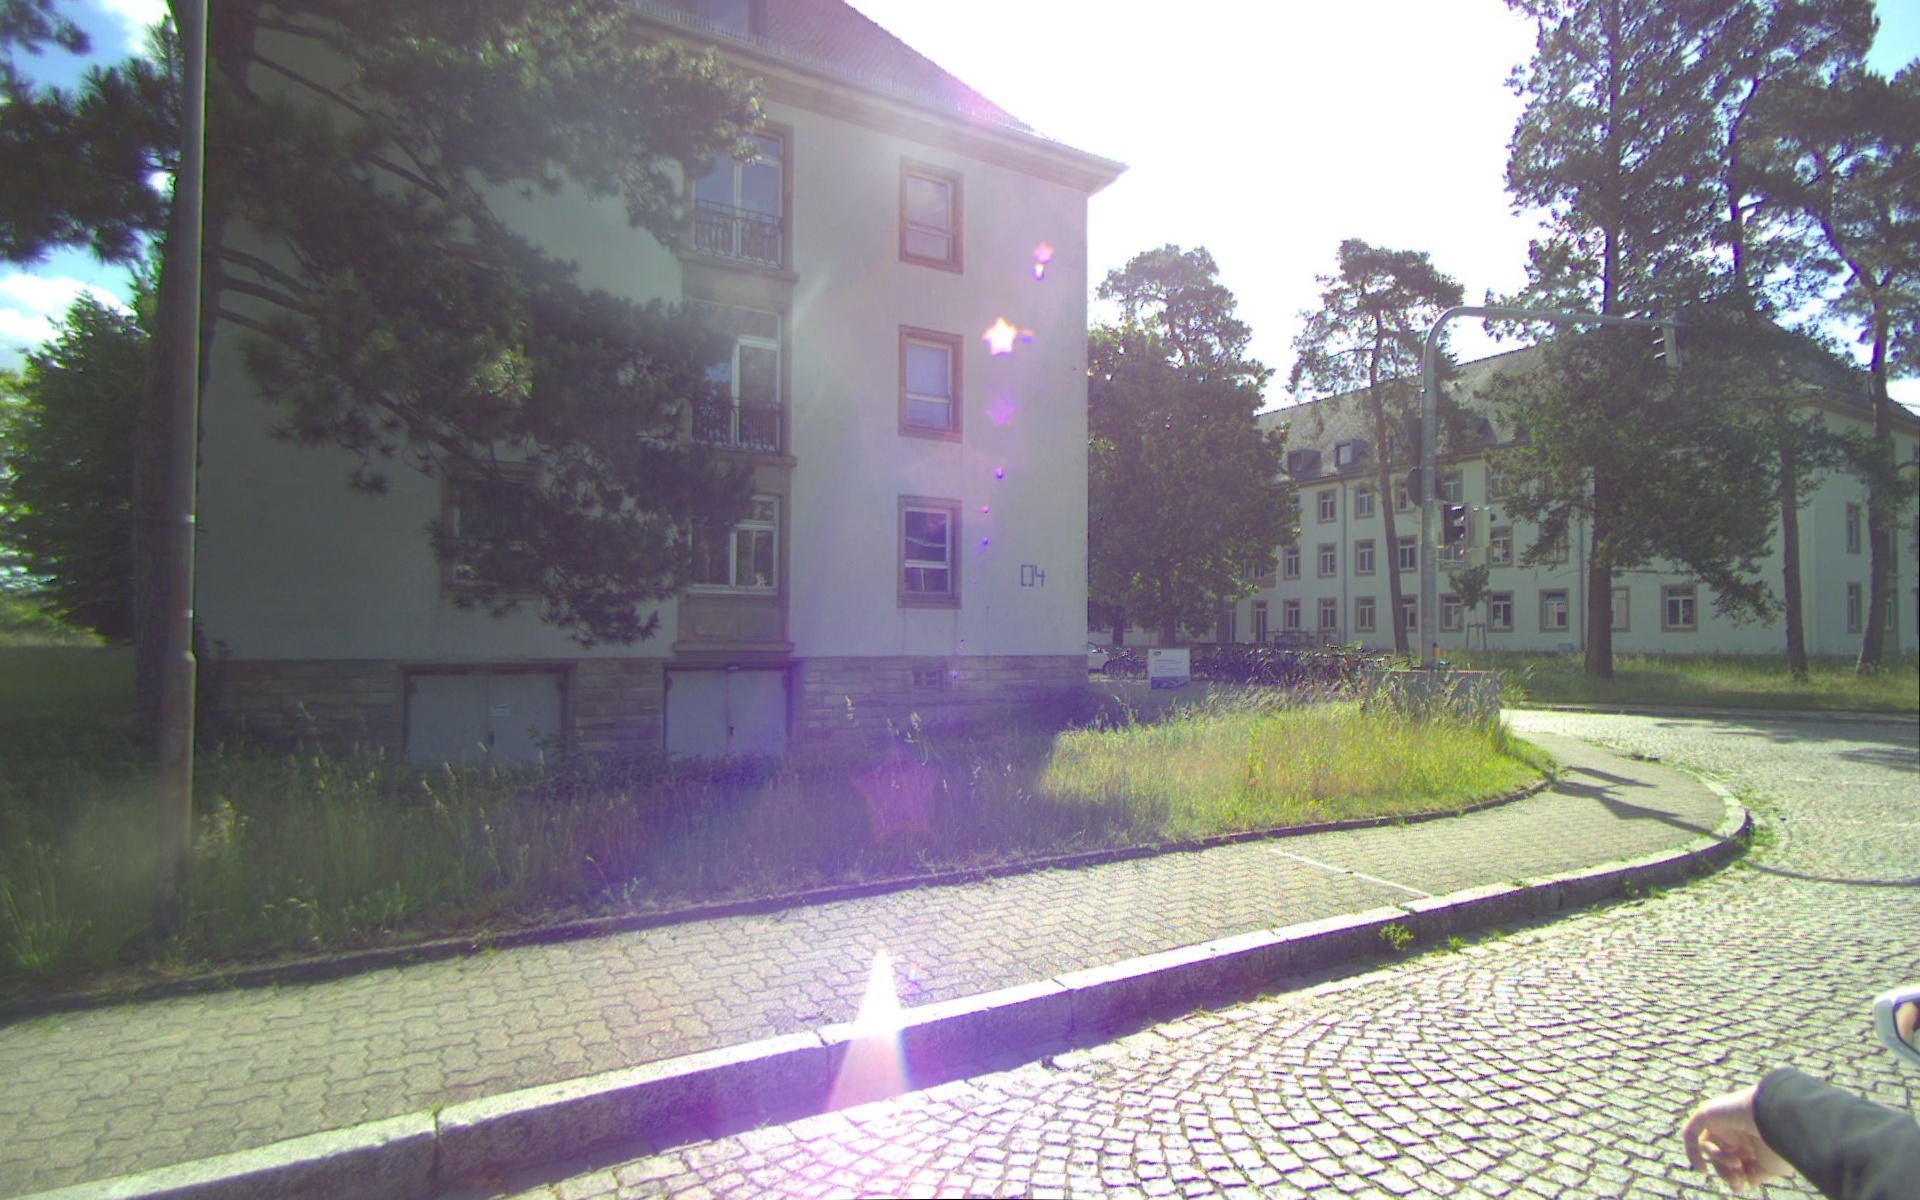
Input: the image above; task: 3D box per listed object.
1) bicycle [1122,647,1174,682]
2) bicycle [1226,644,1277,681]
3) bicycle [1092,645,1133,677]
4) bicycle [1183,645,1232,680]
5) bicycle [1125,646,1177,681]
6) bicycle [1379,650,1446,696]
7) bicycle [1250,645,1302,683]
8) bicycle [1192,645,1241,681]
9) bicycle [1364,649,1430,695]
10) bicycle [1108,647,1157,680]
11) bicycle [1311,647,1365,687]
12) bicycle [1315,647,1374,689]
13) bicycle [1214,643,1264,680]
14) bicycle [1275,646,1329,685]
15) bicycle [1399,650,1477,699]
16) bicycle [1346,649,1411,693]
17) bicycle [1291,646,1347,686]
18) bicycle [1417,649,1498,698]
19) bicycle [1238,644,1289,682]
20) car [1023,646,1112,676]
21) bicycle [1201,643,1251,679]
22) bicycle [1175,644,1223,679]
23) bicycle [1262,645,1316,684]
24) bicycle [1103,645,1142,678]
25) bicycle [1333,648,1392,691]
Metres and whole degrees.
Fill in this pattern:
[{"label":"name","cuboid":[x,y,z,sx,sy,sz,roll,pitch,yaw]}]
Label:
[{"label":"bicycle","cuboid":[6.792,2.316,36.329,1.794,1.236,0.515,-1,-2,24]},{"label":"bicycle","cuboid":[9.924,2.106,34.167,1.915,1.236,0.511,1,-2,-31]},{"label":"bicycle","cuboid":[6.067,2.405,39.941,1.813,1.236,0.510,2,-3,-39]},{"label":"bicycle","cuboid":[8.884,2.222,35.981,1.915,1.236,0.511,1,-2,-31]},{"label":"bicycle","cuboid":[7.022,2.325,36.936,1.794,1.236,0.515,-1,-2,24]},{"label":"bicycle","cuboid":[12.694,2.027,28.175,2.090,1.236,0.630,1,-2,-31]},{"label":"bicycle","cuboid":[10.446,2.094,33.198,1.932,1.236,0.511,1,-2,-31]},{"label":"bicycle","cuboid":[9.098,2.217,35.610,1.915,1.236,0.511,1,-2,-31]},{"label":"bicycle","cuboid":[12.445,2.033,28.588,2.100,1.236,0.630,1,-2,-31]},{"label":"bicycle","cuboid":[6.513,2.379,37.926,1.792,1.236,0.516,0,-2,6]},{"label":"bicycle","cuboid":[11.852,2.084,31.479,1.878,1.236,0.545,1,-2,-31]},{"label":"bicycle","cuboid":[11.783,2.071,30.766,2.006,1.236,0.576,1,-2,-31]},{"label":"bicycle","cuboid":[9.643,2.113,34.689,1.915,1.236,0.511,1,-2,-31]},{"label":"bicycle","cuboid":[11.001,2.090,32.316,1.954,1.236,0.511,1,-2,-31]},{"label":"bicycle","cuboid":[12.683,1.951,26.697,0.627,1.236,1.853,1,-2,-30]},{"label":"bicycle","cuboid":[12.149,2.040,29.114,2.080,1.236,0.630,1,-2,-31]},{"label":"bicycle","cuboid":[11.364,2.084,31.780,1.993,1.236,0.511,1,-2,-31]},{"label":"bicycle","cuboid":[13.337,1.945,26.976,0.627,1.236,1.935,1,-2,-30]},{"label":"bicycle","cuboid":[10.178,2.100,33.683,1.915,1.236,0.511,1,-2,-31]},{"label":"car","cuboid":[4.561,2.572,42.559,3.550,1.227,1.504,1,-3,-29]},{"label":"bicycle","cuboid":[9.328,2.119,35.210,1.915,1.236,0.511,1,-2,-31]},{"label":"bicycle","cuboid":[8.666,2.227,36.372,1.915,1.236,0.511,1,-2,-31]},{"label":"bicycle","cuboid":[10.737,2.092,32.760,1.954,1.236,0.511,1,-2,-31]},{"label":"bicycle","cuboid":[6.384,2.399,39.426,1.815,1.236,0.509,2,-3,-42]},{"label":"bicycle","cuboid":[12.047,2.058,30.053,1.967,1.236,0.569,1,-2,-31]}]
